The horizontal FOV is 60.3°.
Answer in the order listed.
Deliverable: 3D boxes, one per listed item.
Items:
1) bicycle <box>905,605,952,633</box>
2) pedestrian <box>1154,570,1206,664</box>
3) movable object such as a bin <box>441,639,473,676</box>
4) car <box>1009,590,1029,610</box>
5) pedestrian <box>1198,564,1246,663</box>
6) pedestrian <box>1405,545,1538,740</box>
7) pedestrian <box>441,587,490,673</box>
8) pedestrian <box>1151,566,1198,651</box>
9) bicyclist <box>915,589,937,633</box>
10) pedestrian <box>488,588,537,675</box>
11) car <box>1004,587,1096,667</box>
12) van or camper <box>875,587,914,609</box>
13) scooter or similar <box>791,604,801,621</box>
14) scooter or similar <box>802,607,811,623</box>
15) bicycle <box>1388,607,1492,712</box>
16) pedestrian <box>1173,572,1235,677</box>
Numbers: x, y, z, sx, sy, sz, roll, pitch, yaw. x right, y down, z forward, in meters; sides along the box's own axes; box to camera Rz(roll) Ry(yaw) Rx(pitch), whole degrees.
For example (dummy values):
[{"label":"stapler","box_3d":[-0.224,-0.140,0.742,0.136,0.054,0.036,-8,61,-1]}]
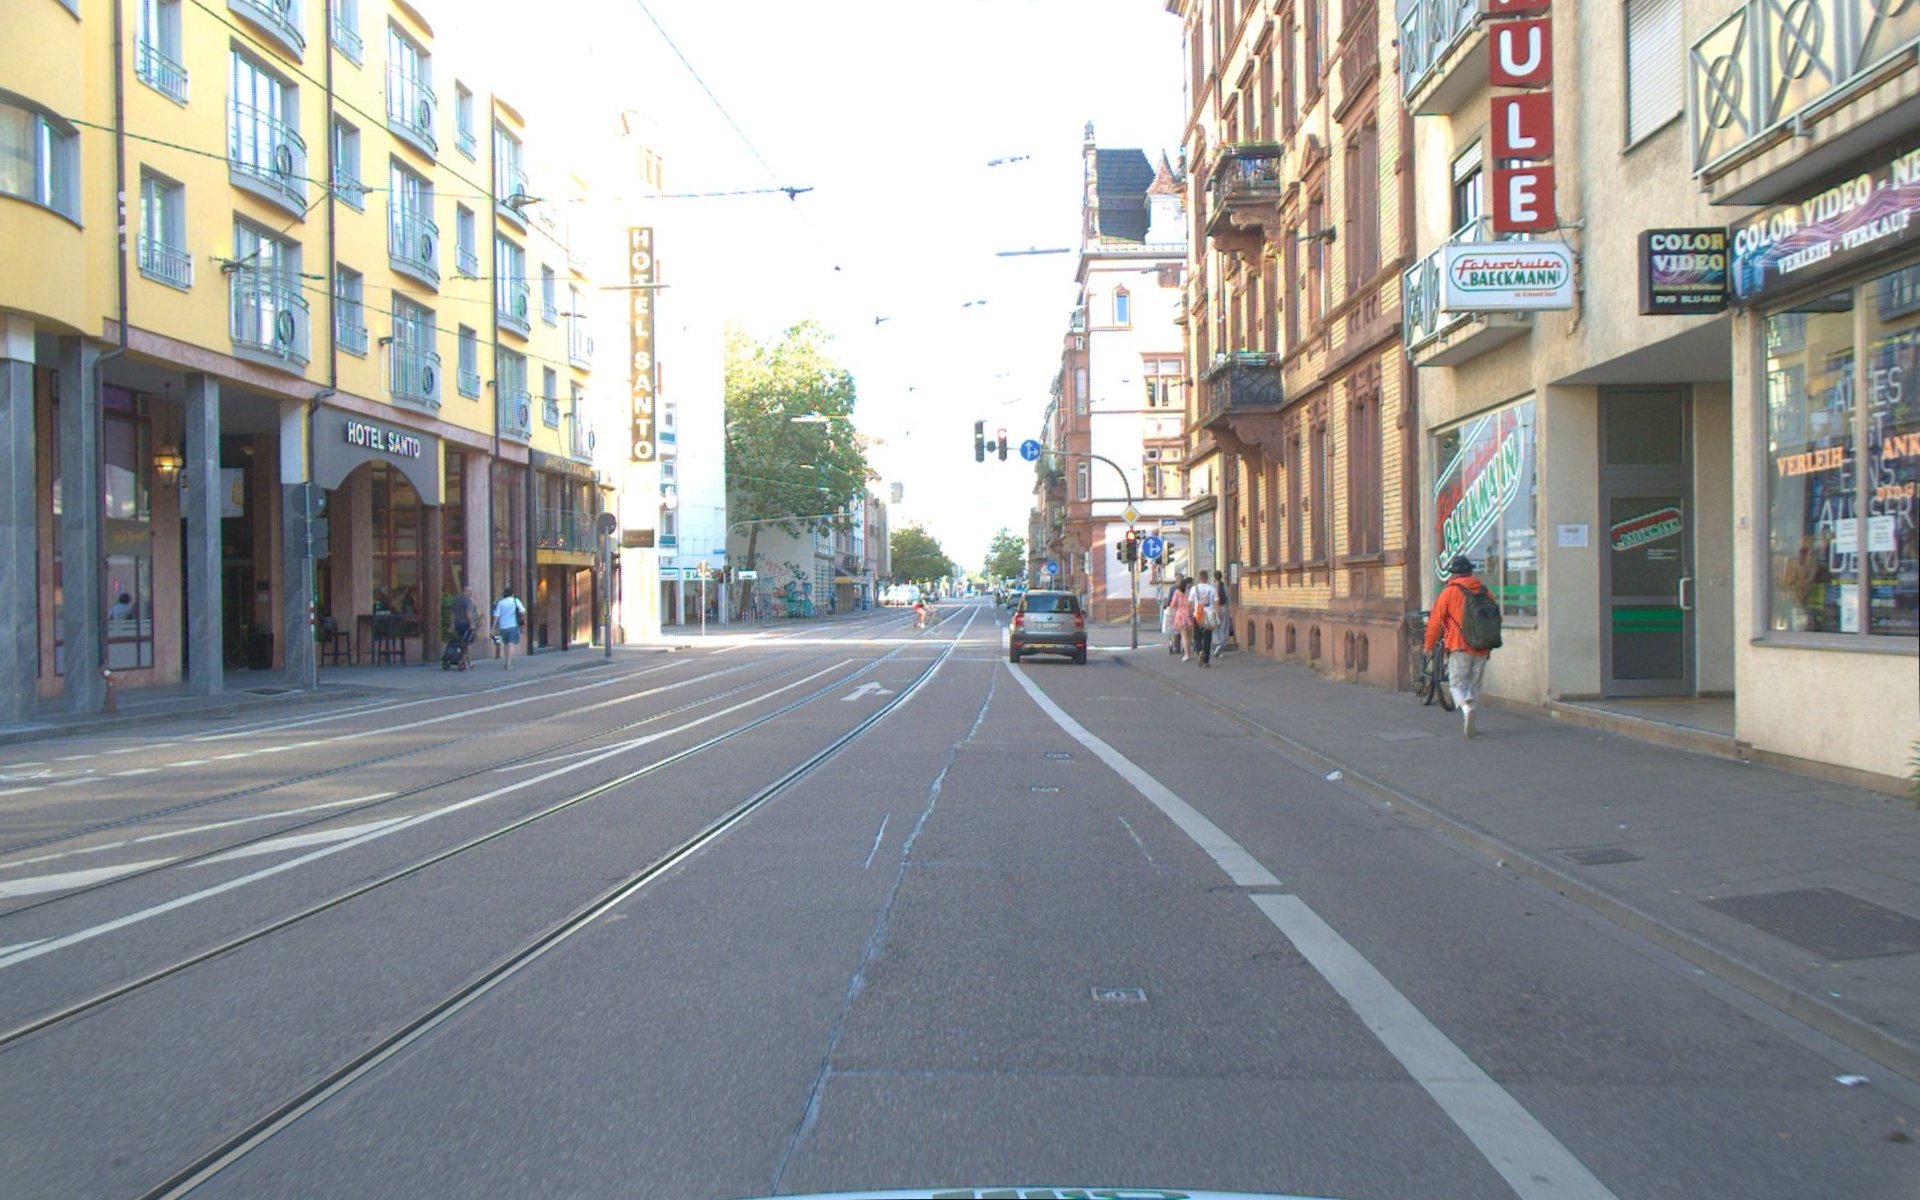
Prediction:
[{"label":"bicycle","box_3d":[-1.204,0.727,62.691,1.677,1.052,0.599,-1,0,11]},{"label":"pedestrian","box_3d":[4.572,0.342,34.389,0.789,1.830,0.761,-6,1,0]},{"label":"movable object such as a bin","box_3d":[-10.680,1.220,35.103,0.375,0.729,0.841,2,2,2]},{"label":"car","box_3d":[5.777,-0.003,161.324,1.909,1.713,4.002,-2,1,2]},{"label":"pedestrian","box_3d":[5.394,0.277,34.075,0.677,1.940,0.670,-6,1,0]},{"label":"pedestrian","box_3d":[4.722,0.374,15.314,0.782,1.654,0.826,-8,1,1]},{"label":"pedestrian","box_3d":[-10.738,0.642,35.901,0.781,1.801,0.750,2,1,1]},{"label":"pedestrian","box_3d":[4.884,0.188,37.741,0.789,1.830,0.762,-6,1,1]},{"label":"bicyclist","box_3d":[-1.277,0.419,62.704,0.724,1.662,0.608,-1,0,10]},{"label":"pedestrian","box_3d":[-9.967,0.690,36.864,0.736,1.850,1.046,2,2,1]},{"label":"car","box_3d":[2.056,0.591,38.850,1.952,1.646,4.001,2,1,1]},{"label":"van or camper","box_3d":[-8.375,-0.213,211.261,4.586,2.608,1.980,-2,1,-30]},{"label":"scooter or similar","box_3d":[-11.173,0.844,112.936,0.506,1.063,1.478,-2,1,-1]},{"label":"scooter or similar","box_3d":[-10.480,1.018,112.894,0.506,1.075,1.478,-2,1,-1]},{"label":"bicycle","box_3d":[5.671,0.670,19.659,0.543,1.079,2.312,-5,1,2]},{"label":"pedestrian","box_3d":[4.547,0.437,30.873,0.789,1.830,1.092,-6,2,0]}]
